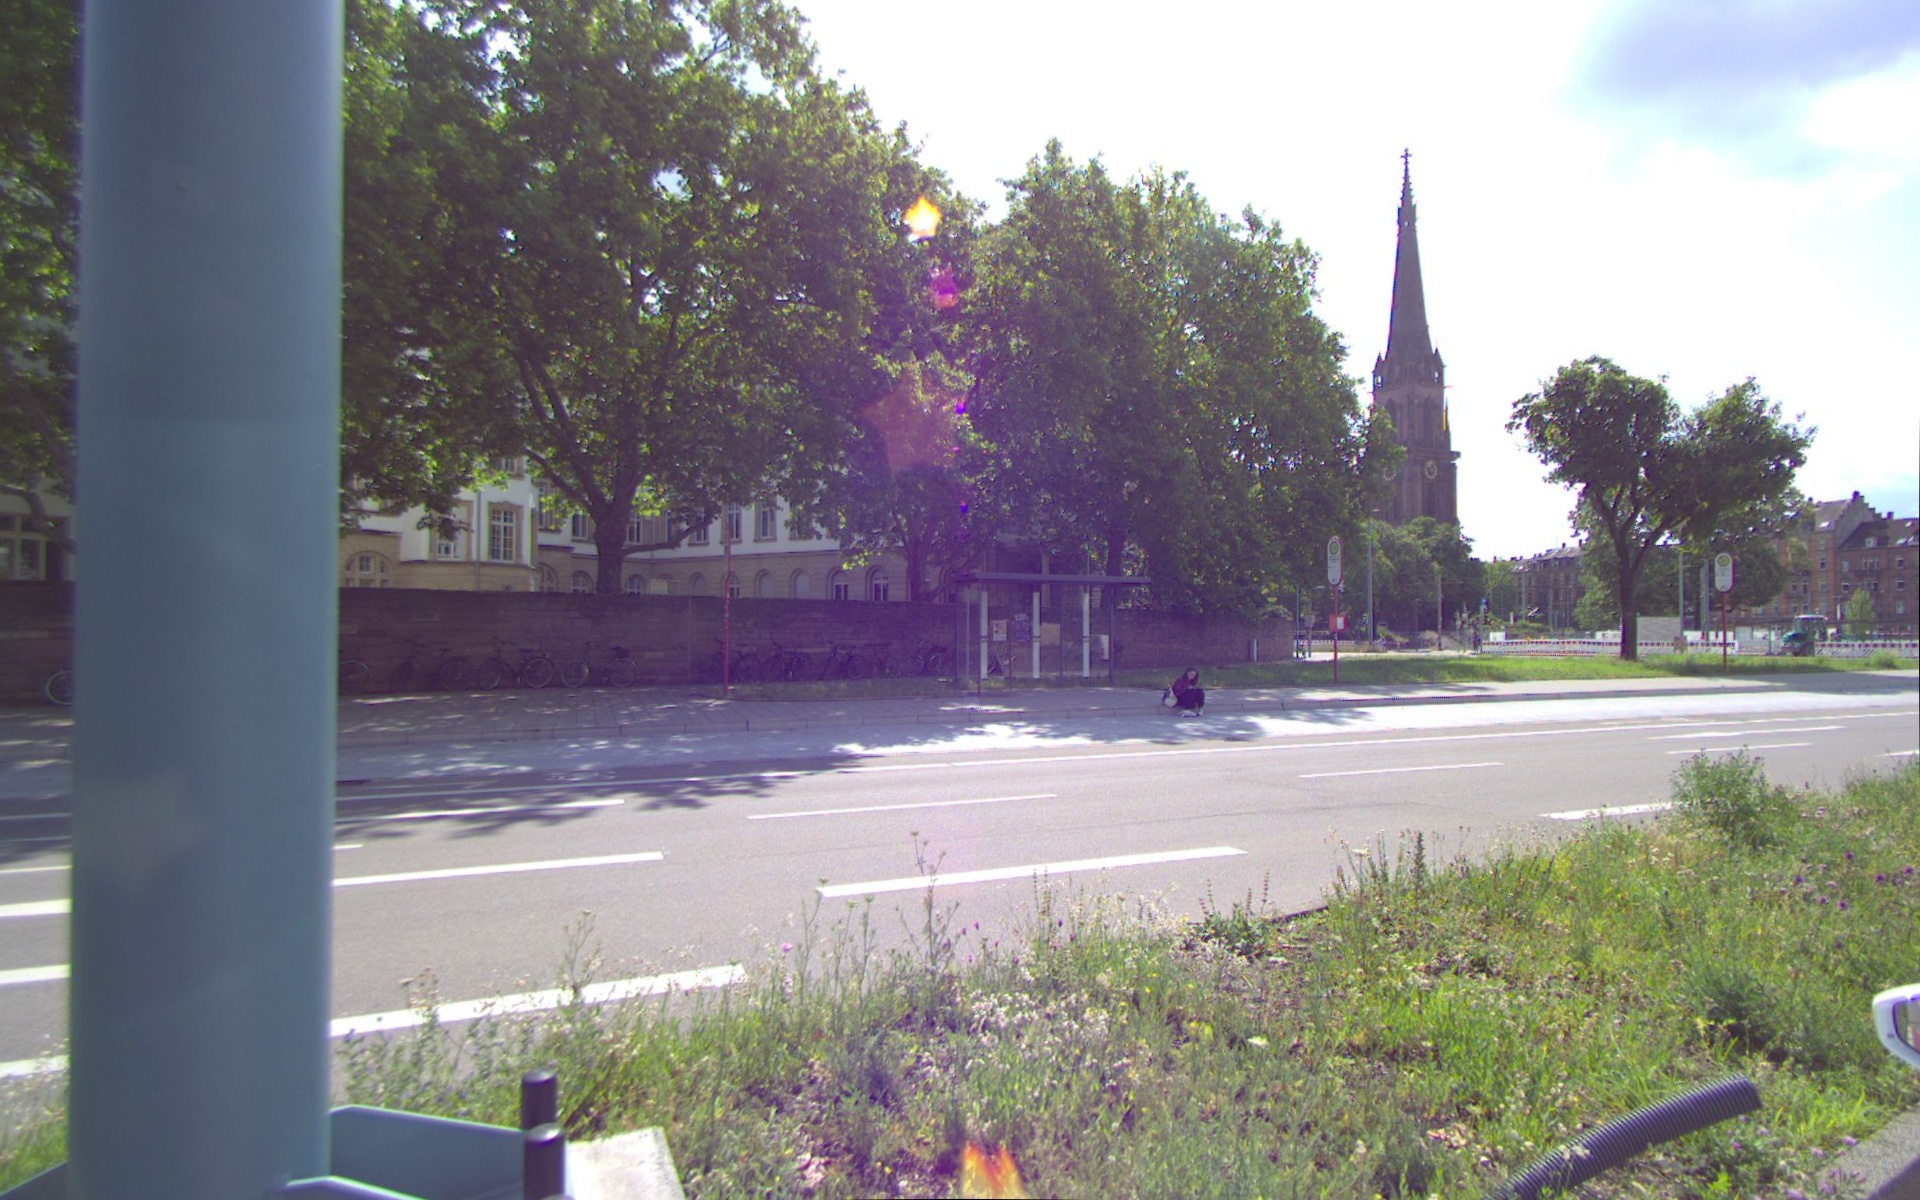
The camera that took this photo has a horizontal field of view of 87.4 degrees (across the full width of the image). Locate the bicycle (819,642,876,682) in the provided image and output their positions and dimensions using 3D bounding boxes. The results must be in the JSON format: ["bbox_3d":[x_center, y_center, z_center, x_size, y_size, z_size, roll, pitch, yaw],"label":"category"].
[{"bbox_3d":[-3.203,1.767,28.724,1.620,1.087,0.576,1,-2,-44],"label":"bicycle"}]

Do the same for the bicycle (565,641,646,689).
[{"bbox_3d":[-8.426,1.533,23.908,1.743,1.087,0.576,1,-2,-44],"label":"bicycle"}]

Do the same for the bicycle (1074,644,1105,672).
[{"bbox_3d":[4.841,2.148,37.475,1.360,1.024,0.387,1,-2,-43],"label":"bicycle"}]

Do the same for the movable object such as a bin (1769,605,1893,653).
[{"bbox_3d":[54.897,1.847,63.477,5.436,2.922,2.287,0,-2,23],"label":"movable object such as a bin"}]

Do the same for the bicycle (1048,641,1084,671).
[{"bbox_3d":[3.813,2.012,36.165,1.445,1.024,0.466,1,-2,-43],"label":"bicycle"}]

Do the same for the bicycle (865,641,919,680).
[{"bbox_3d":[-2.007,1.793,29.977,1.620,1.087,0.576,1,-2,-44],"label":"bicycle"}]

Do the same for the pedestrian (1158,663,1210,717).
[{"bbox_3d":[4.355,1.737,19.521,0.732,0.975,0.693,1,-1,-23],"label":"pedestrian"}]

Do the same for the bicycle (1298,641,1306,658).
[{"bbox_3d":[20.853,3.008,61.220,0.386,1.005,1.523,0,-2,21],"label":"bicycle"}]

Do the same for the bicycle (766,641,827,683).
[{"bbox_3d":[-4.477,1.694,27.561,1.620,1.087,0.576,1,-2,-44],"label":"bicycle"}]

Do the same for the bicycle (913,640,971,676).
[{"bbox_3d":[-0.542,1.801,31.449,1.854,1.087,0.577,1,-2,-39],"label":"bicycle"}]

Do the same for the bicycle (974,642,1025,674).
[{"bbox_3d":[1.339,1.930,33.495,1.950,1.024,0.466,1,-2,-43],"label":"bicycle"}]

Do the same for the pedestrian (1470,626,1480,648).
[{"bbox_3d":[43.508,3.116,84.889,0.491,1.874,0.528,1,-2,-14],"label":"pedestrian"}]

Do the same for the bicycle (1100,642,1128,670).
[{"bbox_3d":[5.928,2.154,38.634,1.245,1.024,0.349,1,-2,-43],"label":"bicycle"}]

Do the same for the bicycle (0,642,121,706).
[{"bbox_3d":[-16.058,1.292,17.830,1.740,1.087,0.578,1,-1,-38],"label":"bicycle"}]

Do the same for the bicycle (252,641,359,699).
[{"bbox_3d":[-13.048,1.383,20.062,1.740,1.087,0.577,1,-2,-39],"label":"bicycle"}]

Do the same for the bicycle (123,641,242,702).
[{"bbox_3d":[-14.598,1.319,18.903,1.740,1.087,0.578,1,-1,-38],"label":"bicycle"}]

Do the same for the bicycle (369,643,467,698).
[{"bbox_3d":[-11.469,1.469,21.295,1.743,1.087,0.576,1,-2,-44],"label":"bicycle"}]

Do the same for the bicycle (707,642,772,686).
[{"bbox_3d":[-5.769,1.660,26.346,1.620,1.087,0.576,1,-2,-44],"label":"bicycle"}]

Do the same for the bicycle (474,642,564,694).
[{"bbox_3d":[-9.881,1.501,22.549,1.743,1.087,0.576,1,-2,-44],"label":"bicycle"}]
